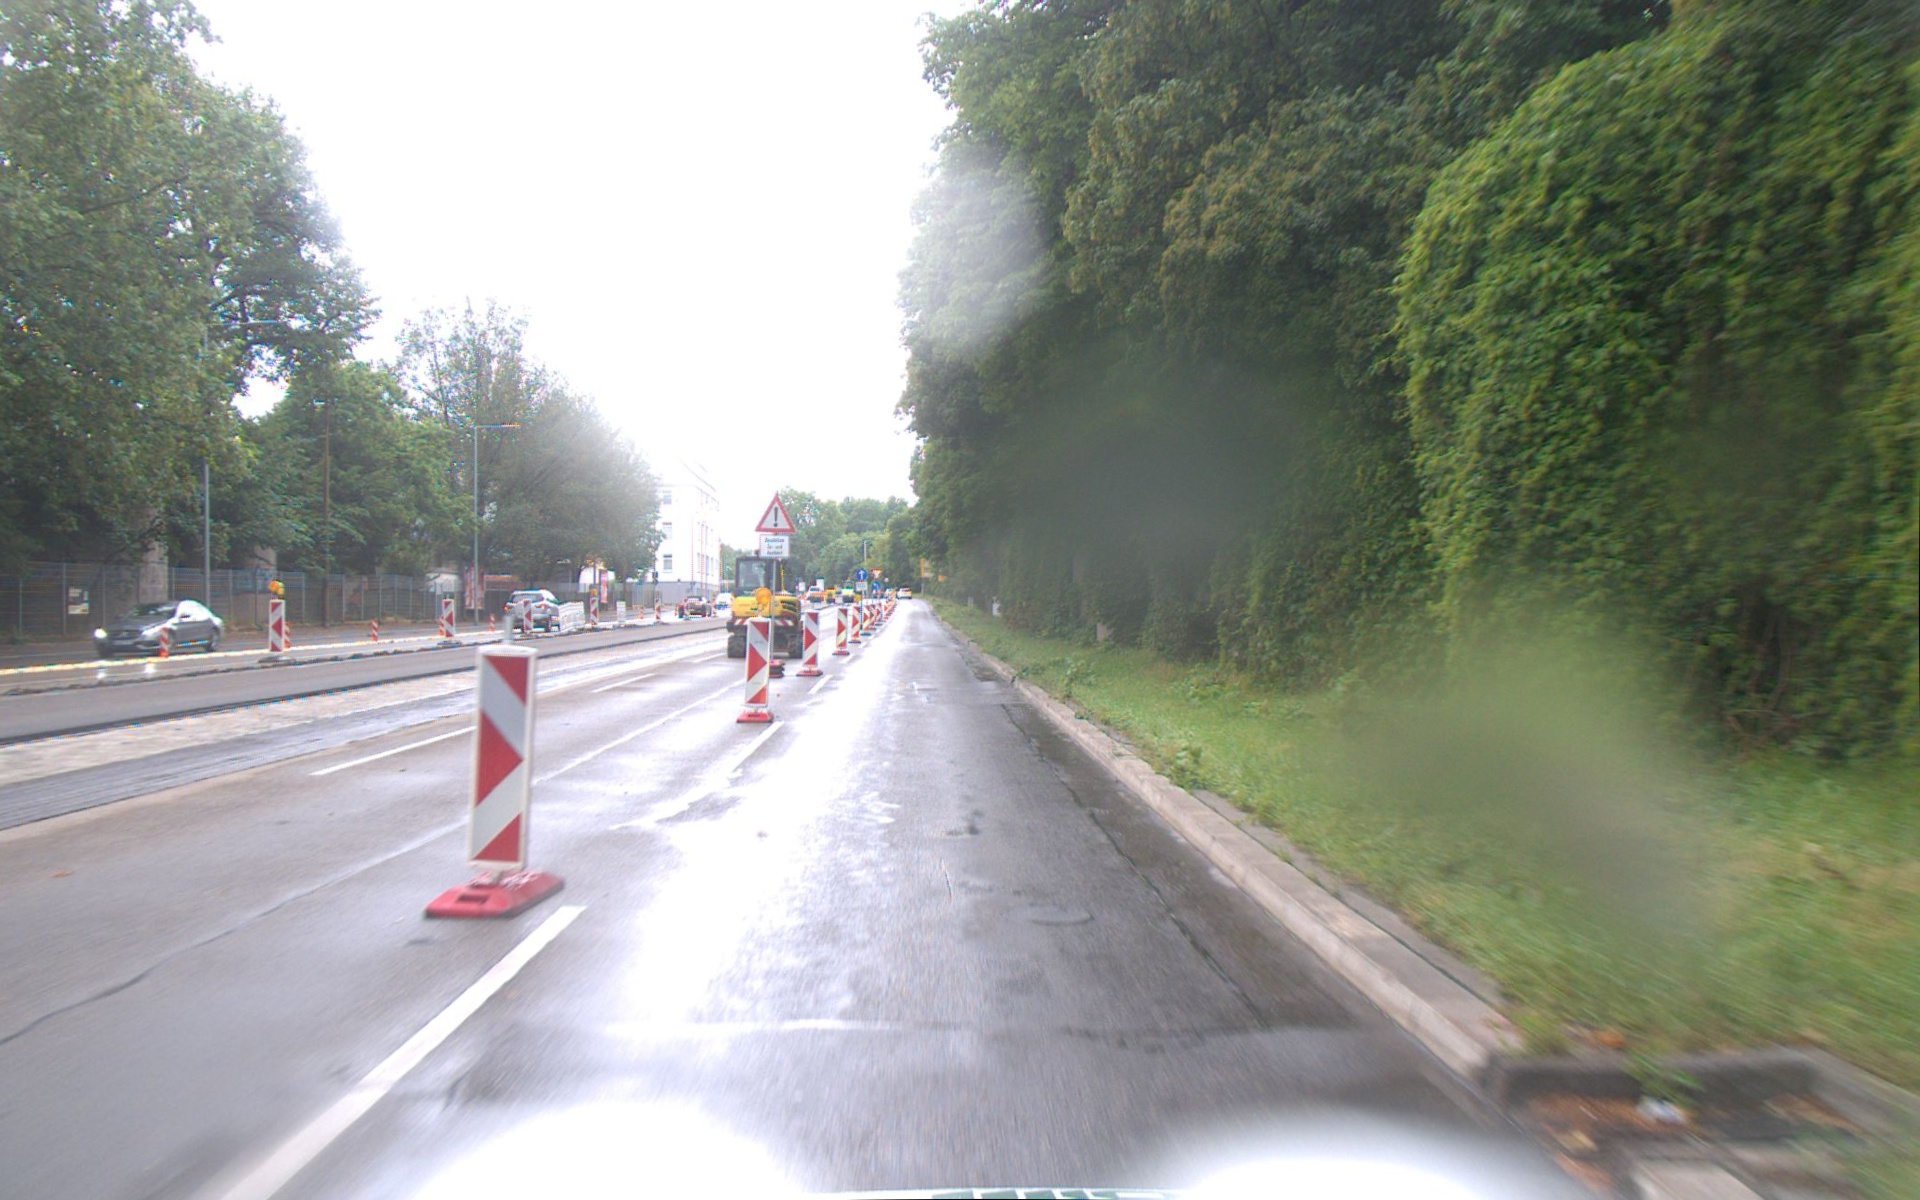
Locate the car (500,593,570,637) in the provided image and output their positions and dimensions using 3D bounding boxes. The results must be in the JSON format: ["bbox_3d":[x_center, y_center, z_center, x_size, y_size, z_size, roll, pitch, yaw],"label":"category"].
[{"bbox_3d":[-16.666,0.581,65.013,1.817,1.677,3.998,0,0,-2],"label":"car"}]

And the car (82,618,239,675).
[{"bbox_3d":[-21.295,1.204,44.269,1.953,1.371,4.789,0,0,-2],"label":"car"}]

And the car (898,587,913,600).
[{"bbox_3d":[-7.318,-0.887,222.867,1.953,1.702,3.999,0,0,-1],"label":"car"}]

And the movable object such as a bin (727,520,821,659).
[{"bbox_3d":[-4.859,-0.254,44.030,1.953,3.426,5.980,0,0,-1],"label":"movable object such as a bin"}]

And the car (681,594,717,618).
[{"bbox_3d":[-17.540,0.415,111.298,1.953,1.545,3.998,0,0,-2],"label":"car"}]
